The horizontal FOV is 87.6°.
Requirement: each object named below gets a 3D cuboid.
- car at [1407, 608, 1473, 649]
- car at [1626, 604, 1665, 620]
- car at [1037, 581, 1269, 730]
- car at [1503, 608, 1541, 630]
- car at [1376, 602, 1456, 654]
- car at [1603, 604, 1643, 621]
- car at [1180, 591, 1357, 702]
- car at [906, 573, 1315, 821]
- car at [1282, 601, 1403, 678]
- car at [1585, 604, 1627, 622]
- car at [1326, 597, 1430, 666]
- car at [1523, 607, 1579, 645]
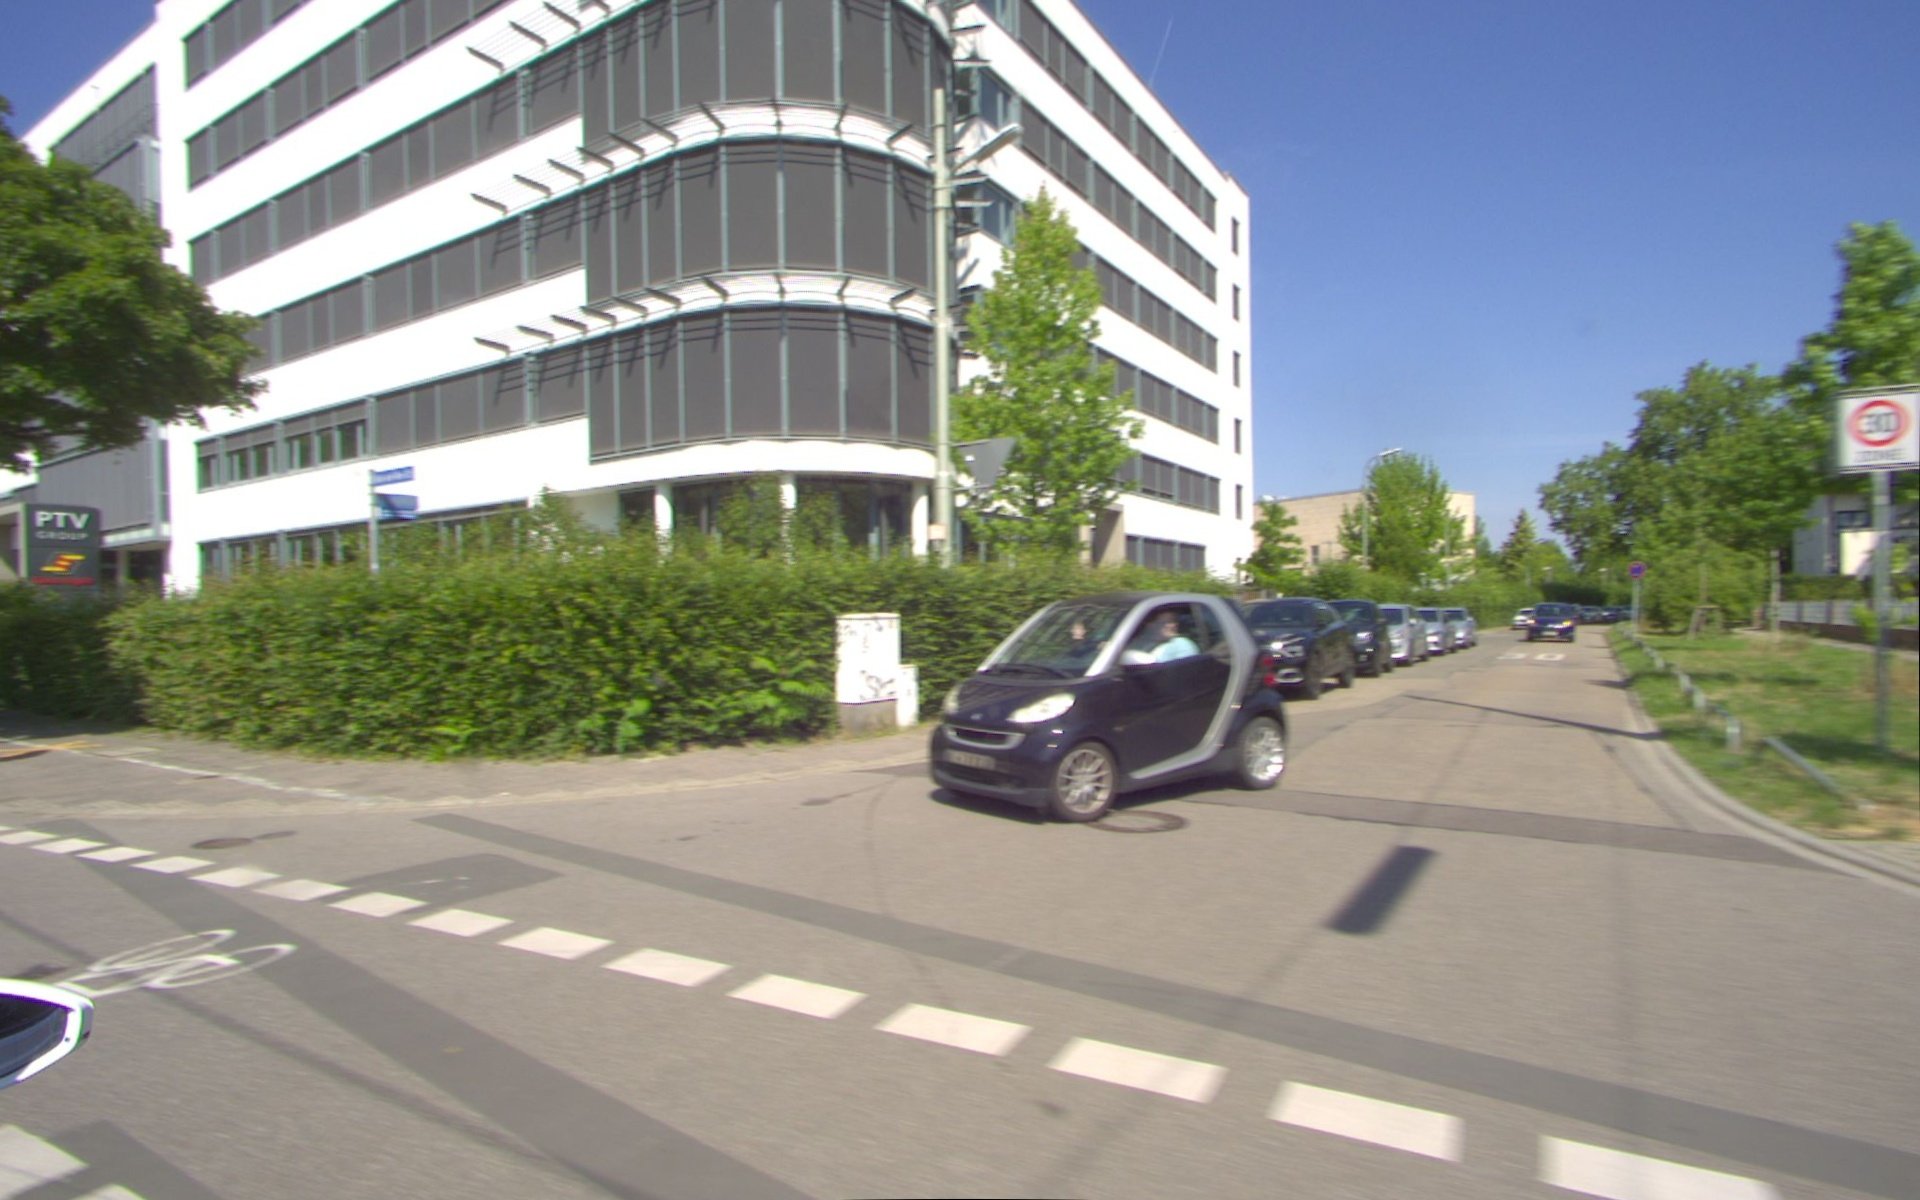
[{"bbox_3d":[16.940,0.977,35.256,1.789,1.339,3.809,-1,-1,31],"label":"car"},{"bbox_3d":[59.485,1.069,86.848,3.784,1.339,1.801,0,-1,-39],"label":"car"},{"bbox_3d":[2.529,0.602,12.416,1.680,1.547,3.678,-1,-1,31],"label":"car"},{"bbox_3d":[38.830,1.299,69.139,1.910,1.468,3.805,-1,-1,35],"label":"car"},{"bbox_3d":[13.714,0.814,30.003,1.789,1.422,3.810,-1,-1,31],"label":"car"},{"bbox_3d":[55.484,1.059,83.776,3.784,1.339,1.801,0,-1,-39],"label":"car"},{"bbox_3d":[5.082,0.675,16.122,1.789,1.538,4.149,-1,-1,31],"label":"car"},{"bbox_3d":[1.221,0.605,7.758,2.938,1.559,1.469,-1,0,-36],"label":"car"},{"bbox_3d":[8.131,0.786,21.099,1.757,1.463,3.832,-1,-1,31],"label":"car"},{"bbox_3d":[51.988,1.049,80.544,3.784,1.339,1.801,0,-1,-39],"label":"car"},{"bbox_3d":[10.373,0.728,24.679,1.789,1.525,4.024,-2,0,31],"label":"car"},{"bbox_3d":[24.348,1.043,41.256,1.907,1.468,3.810,-1,-1,31],"label":"car"}]
